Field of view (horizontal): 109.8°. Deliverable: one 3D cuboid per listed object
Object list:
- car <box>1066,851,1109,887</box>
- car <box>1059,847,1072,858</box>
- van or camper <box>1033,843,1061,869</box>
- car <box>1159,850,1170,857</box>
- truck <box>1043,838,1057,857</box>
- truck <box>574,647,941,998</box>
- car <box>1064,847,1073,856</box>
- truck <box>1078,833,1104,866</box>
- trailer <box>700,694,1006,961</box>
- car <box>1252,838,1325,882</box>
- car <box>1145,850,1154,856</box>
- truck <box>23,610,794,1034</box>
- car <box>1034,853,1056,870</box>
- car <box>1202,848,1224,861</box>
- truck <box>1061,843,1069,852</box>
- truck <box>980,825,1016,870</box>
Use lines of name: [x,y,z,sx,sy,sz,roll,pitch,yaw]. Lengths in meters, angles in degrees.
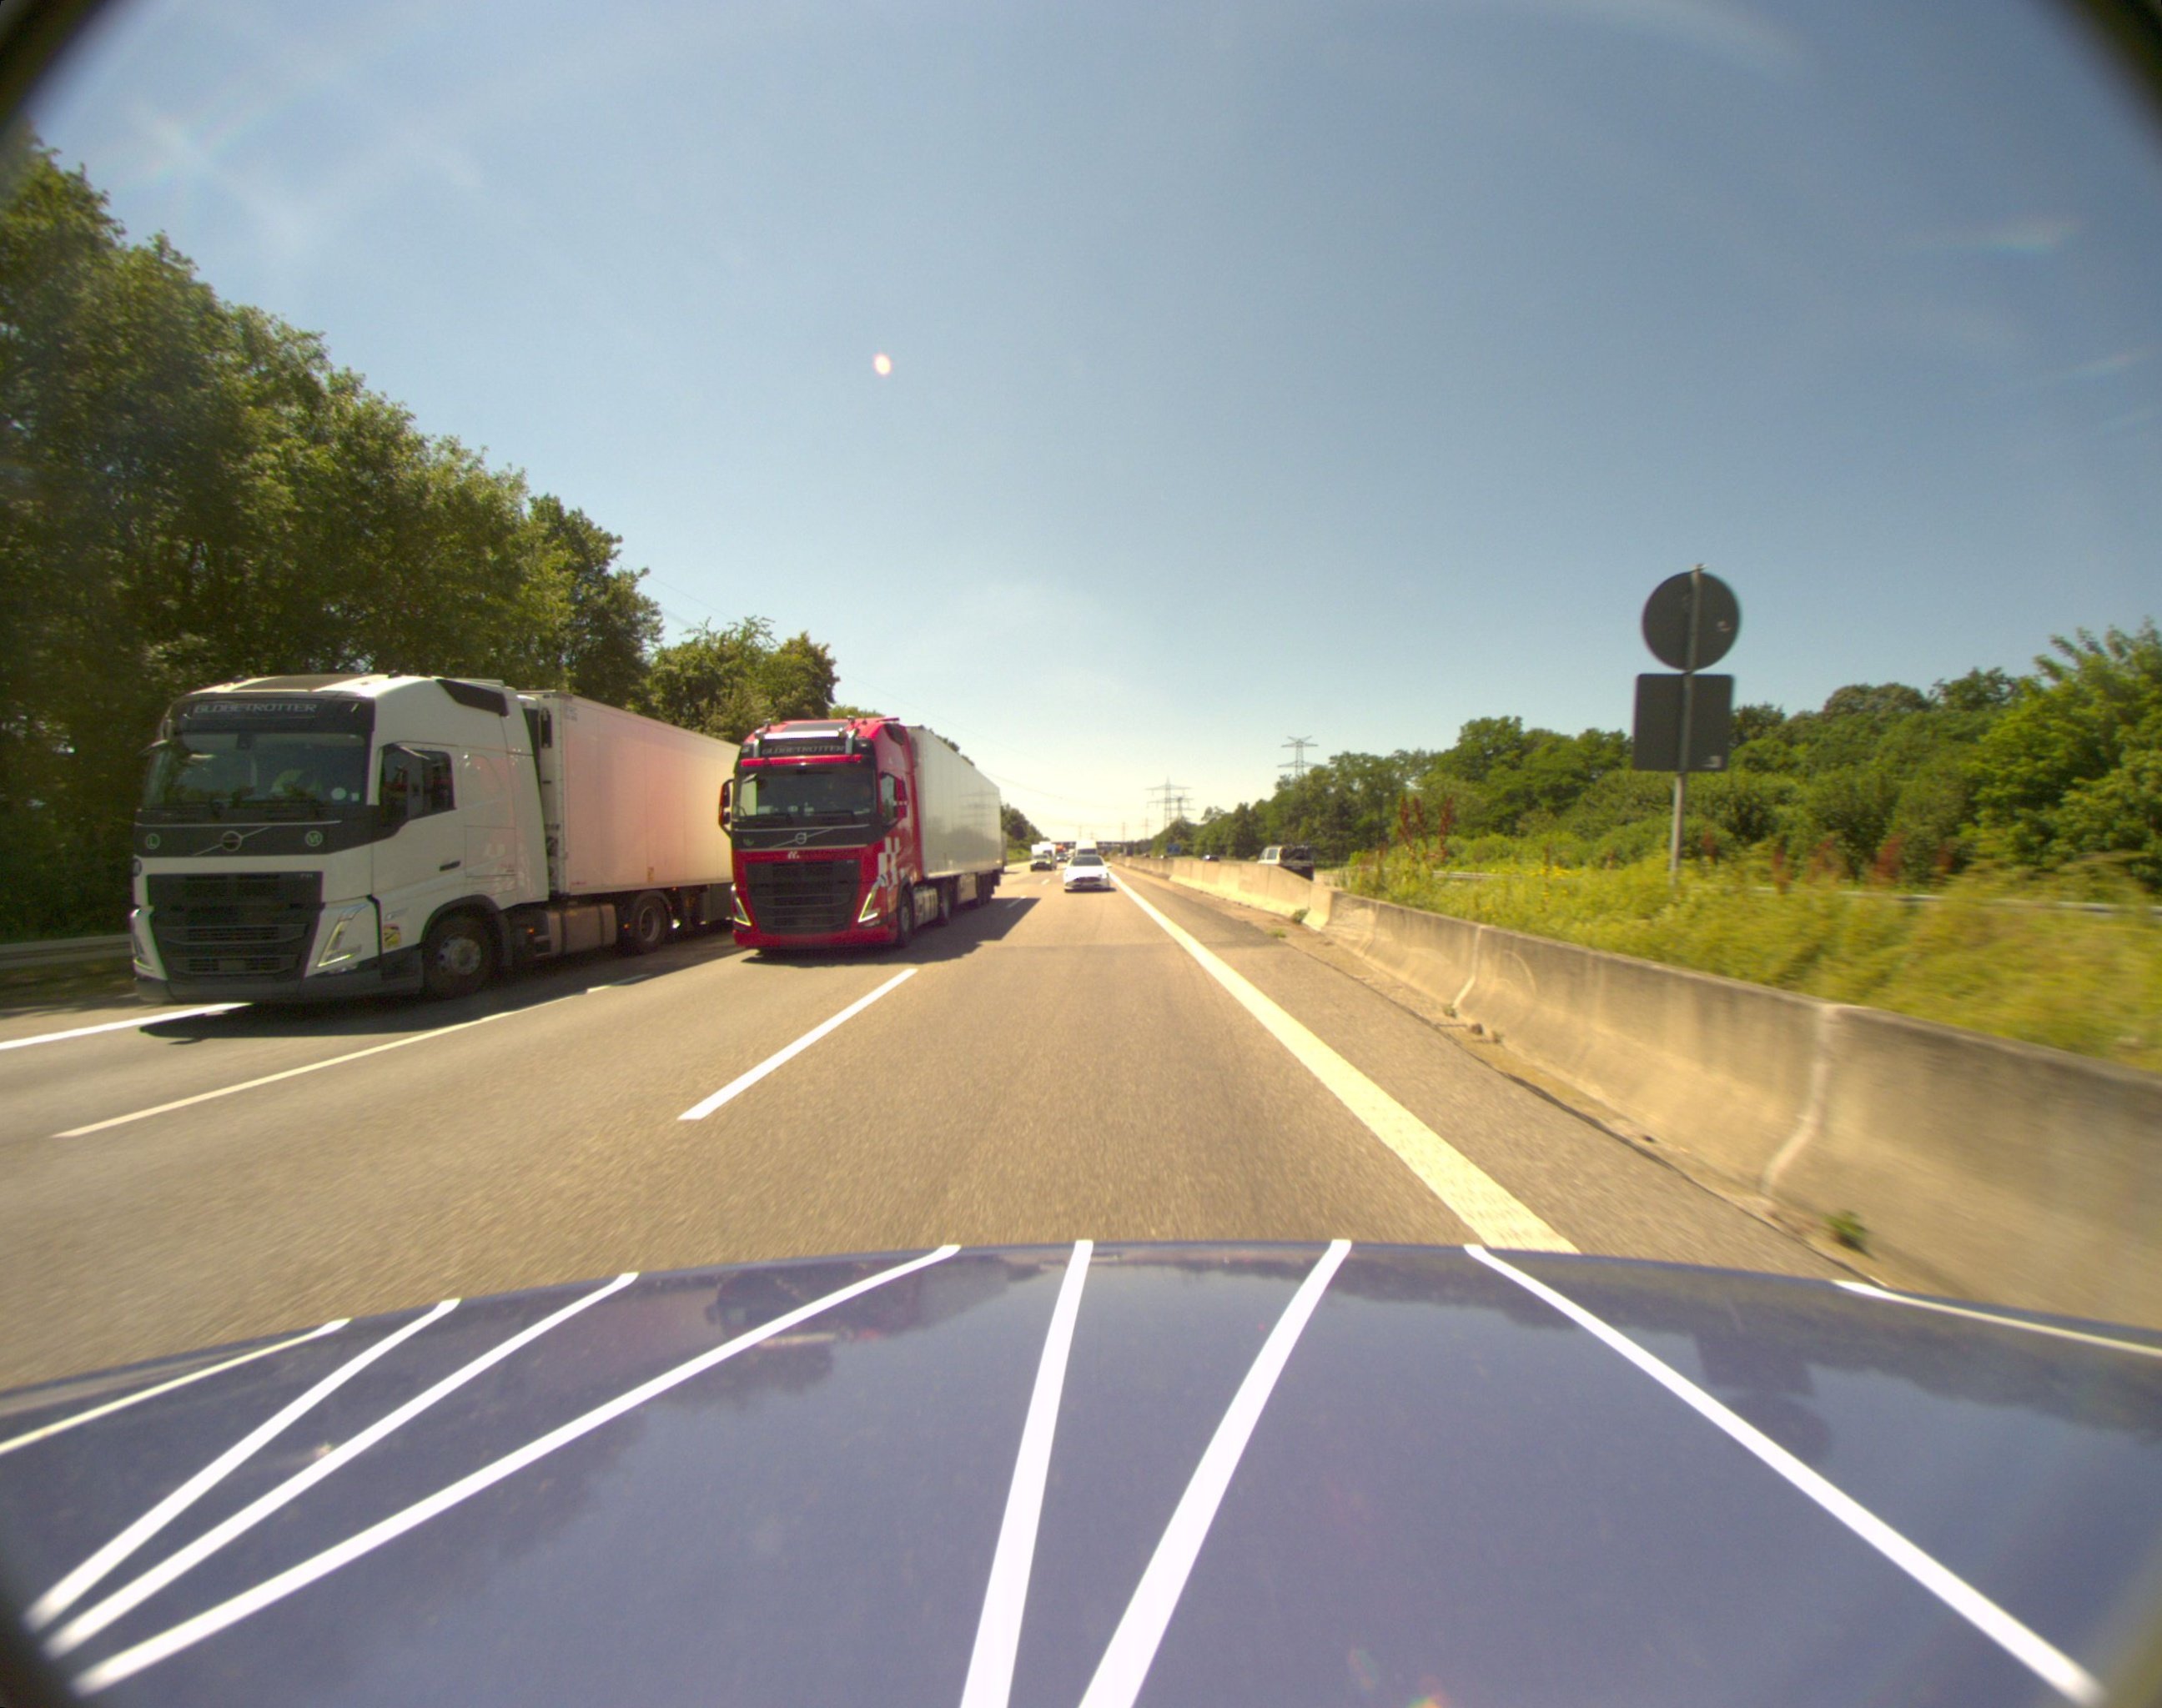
car: [0.291,0.629,34.631,1.788,1.462,3.999,-2,1,0]
car: [-2.564,-0.266,125.960,1.904,1.662,4.000,-1,0,0]
van or camper: [-3.285,0.173,74.784,2.411,2.483,6.431,-1,0,0]
car: [18.431,-0.160,167.246,1.913,1.470,4.824,2,0,0]
truck: [-6.630,-1.382,161.744,2.584,3.704,8.278,-2,1,0]
truck: [-4.284,-0.384,11.812,2.948,3.963,6.100,-2,1,0]
car: [-2.791,-0.570,175.982,1.998,2.002,4.000,0,0,0]
truck: [0.875,-0.405,68.587,2.192,2.841,5.503,-2,0,0]
trailer: [-4.264,-0.479,19.714,2.945,3.994,16.197,-2,1,0]
car: [10.365,0.269,38.437,1.998,2.002,6.222,1,0,1]
car: [18.758,-0.396,209.331,1.998,1.549,4.683,1,0,0]
truck: [-8.661,-0.355,12.940,3.033,4.069,10.977,-2,1,1]
car: [-3.287,0.662,69.510,1.788,1.520,4.104,-1,0,0]
car: [14.697,0.055,84.764,1.774,1.463,3.999,0,1,1]
truck: [-5.143,-2.084,248.754,2.619,2.801,6.593,0,0,0]
truck: [-7.306,-0.568,68.088,1.987,3.750,10.042,-1,0,0]
